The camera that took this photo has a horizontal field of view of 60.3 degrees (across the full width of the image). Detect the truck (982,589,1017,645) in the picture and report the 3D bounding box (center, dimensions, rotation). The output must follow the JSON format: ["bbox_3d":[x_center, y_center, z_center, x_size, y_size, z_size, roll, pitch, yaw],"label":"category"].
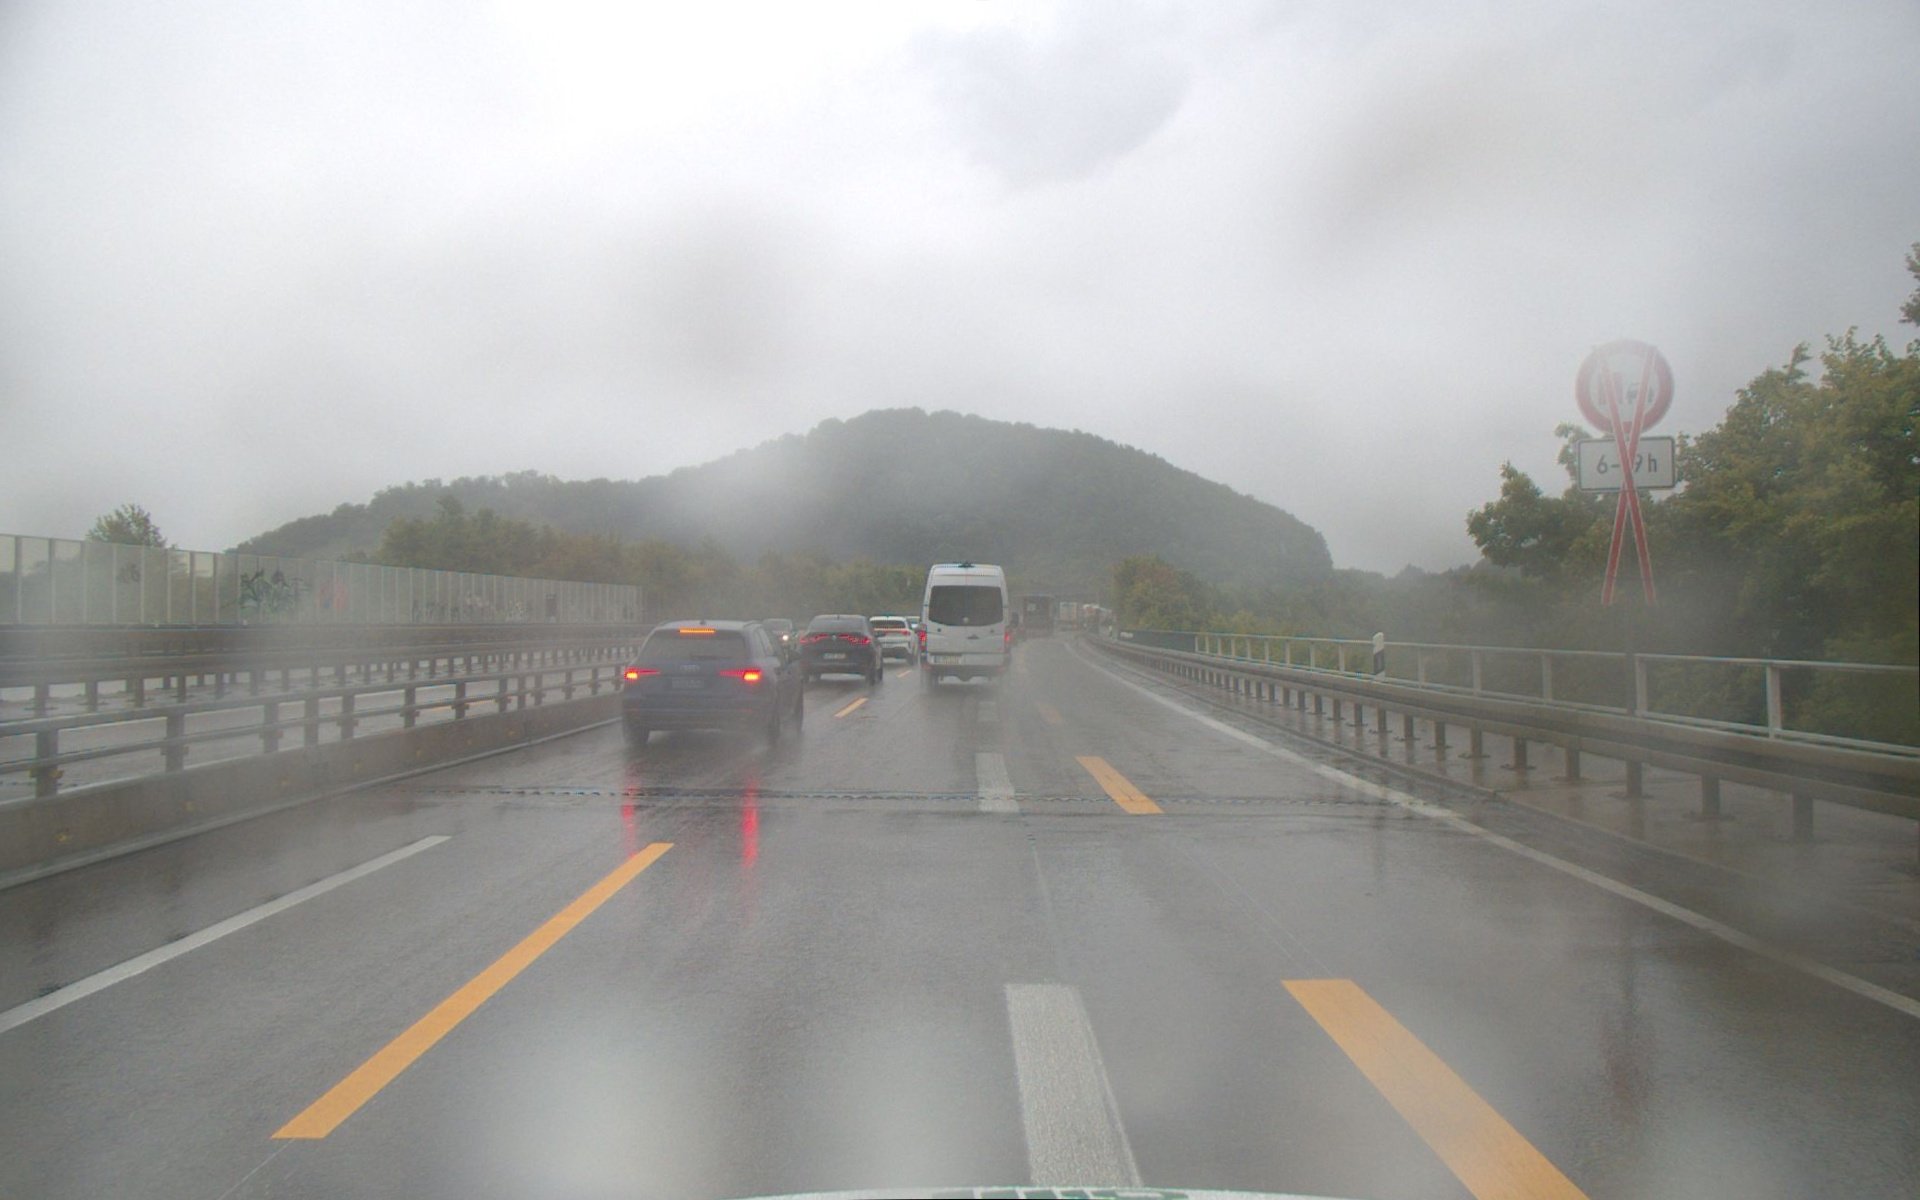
[{"bbox_3d":[2.426,1.076,100.455,1.952,3.164,8.499,2,-1,2],"label":"truck"}]

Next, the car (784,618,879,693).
[{"bbox_3d":[-2.968,1.284,38.996,1.953,1.613,4.412,2,-1,-1],"label":"car"}]

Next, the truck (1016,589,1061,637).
[{"bbox_3d":[7.857,1.349,163.445,3.505,4.484,9.630,1,-1,8],"label":"truck"}]

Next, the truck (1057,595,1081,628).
[{"bbox_3d":[15.442,1.671,233.506,2.972,4.484,9.629,1,-1,6],"label":"truck"}]

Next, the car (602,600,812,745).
[{"bbox_3d":[-2.960,0.833,20.327,1.953,1.524,4.629,1,-1,-2],"label":"car"}]

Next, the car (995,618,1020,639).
[{"bbox_3d":[3.470,2.061,119.348,1.737,1.501,4.001,2,-1,2],"label":"car"}]

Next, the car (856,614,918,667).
[{"bbox_3d":[-2.504,1.347,55.709,1.954,1.646,4.792,2,-1,-3],"label":"car"}]

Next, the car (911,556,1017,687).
[{"bbox_3d":[0.141,0.485,36.540,2.100,2.616,5.390,2,-1,1],"label":"car"}]
